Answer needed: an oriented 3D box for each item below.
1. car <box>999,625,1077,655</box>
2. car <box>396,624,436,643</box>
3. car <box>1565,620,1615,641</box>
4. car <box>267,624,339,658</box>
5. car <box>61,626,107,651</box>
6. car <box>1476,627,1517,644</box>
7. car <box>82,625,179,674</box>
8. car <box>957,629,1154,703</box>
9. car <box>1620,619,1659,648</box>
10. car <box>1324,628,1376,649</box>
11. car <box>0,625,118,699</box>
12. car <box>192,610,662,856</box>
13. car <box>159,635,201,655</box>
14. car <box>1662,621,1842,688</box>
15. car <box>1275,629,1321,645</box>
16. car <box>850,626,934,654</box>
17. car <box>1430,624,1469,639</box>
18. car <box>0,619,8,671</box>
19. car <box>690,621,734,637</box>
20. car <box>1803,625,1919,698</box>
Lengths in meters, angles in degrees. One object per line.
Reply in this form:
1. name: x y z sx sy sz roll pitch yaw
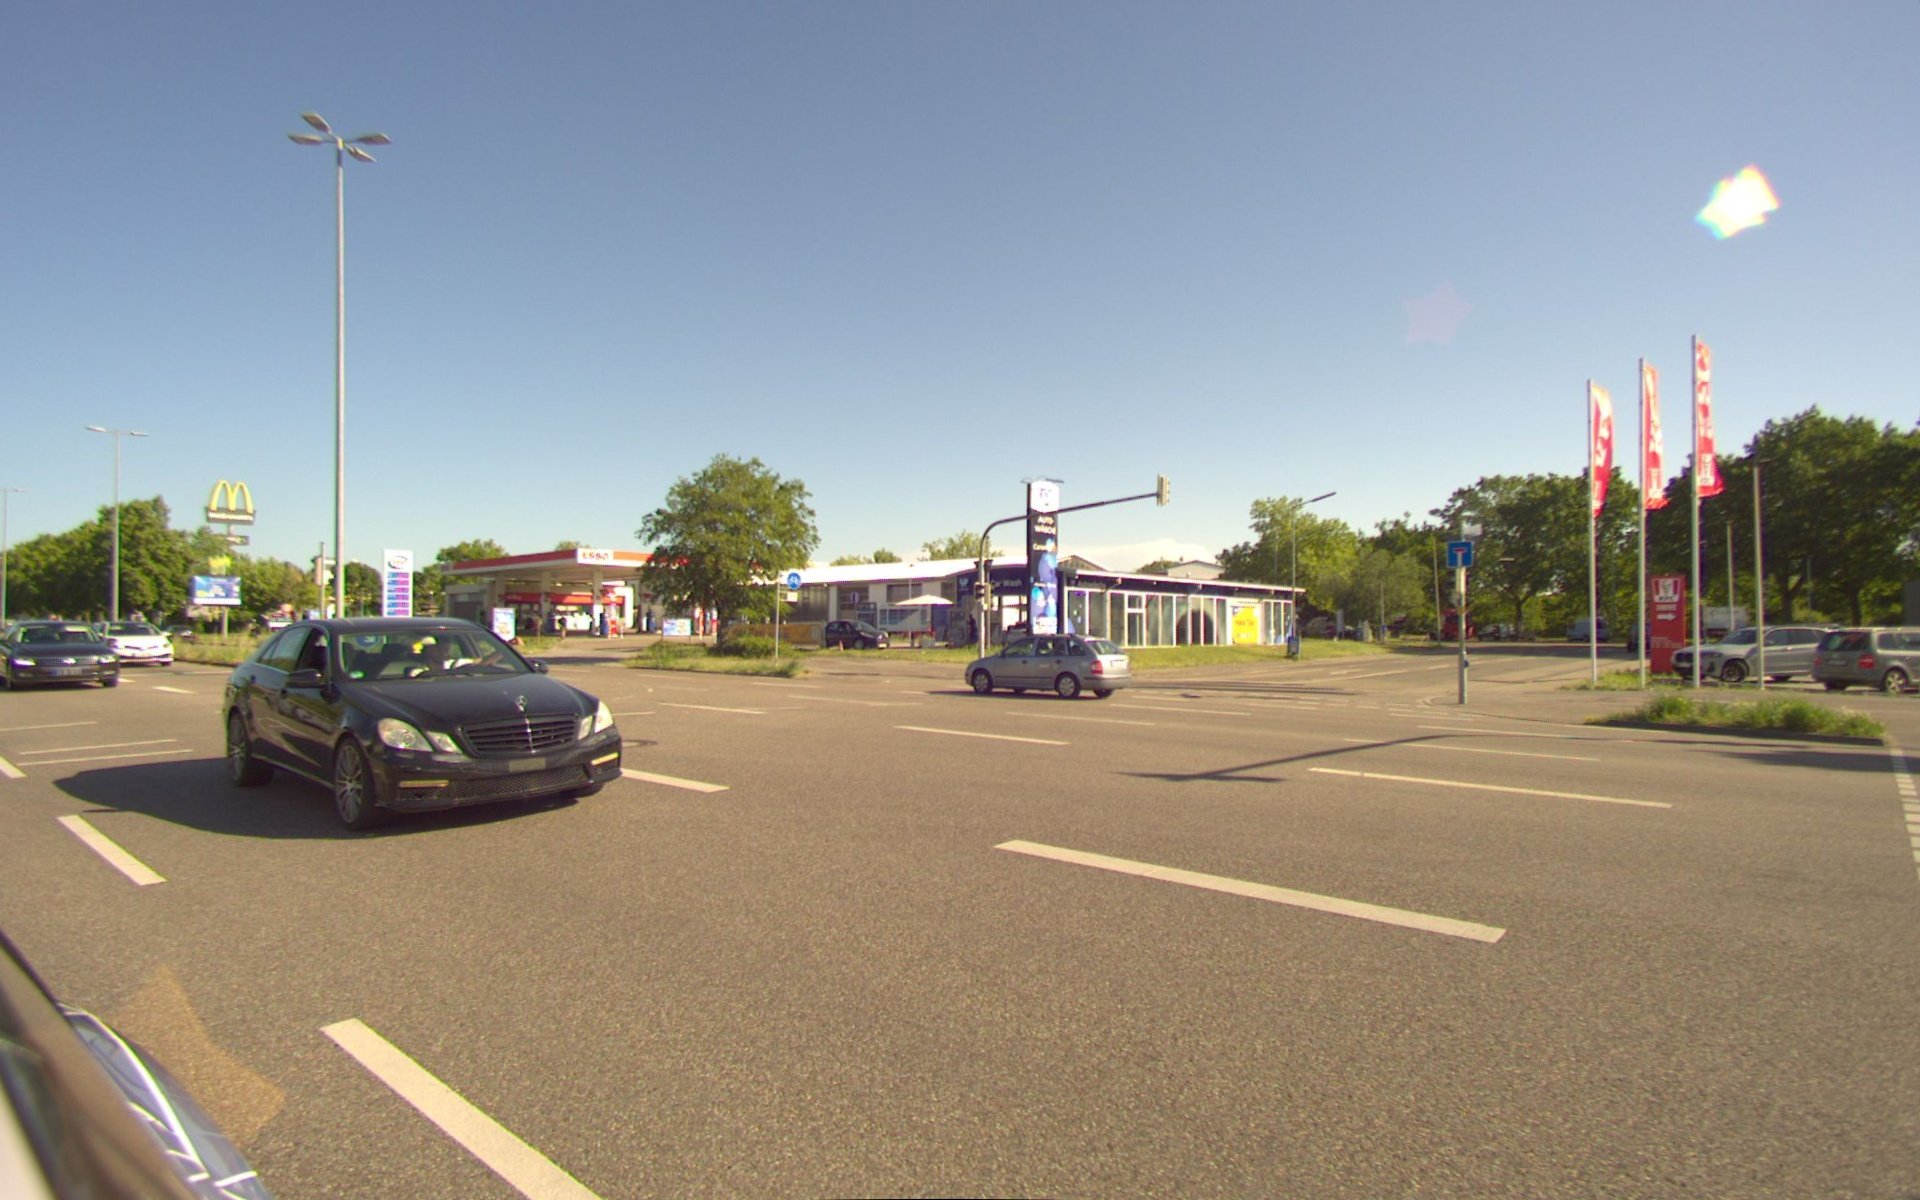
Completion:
1. car: 4.002 2.070 51.611 1.900 1.443 4.063 -1 -3 41
2. car: -49.616 3.047 92.238 4.116 1.625 1.740 -1 -3 40
3. car: 58.272 2.860 93.722 2.077 1.813 4.775 1 -2 8
4. car: -32.248 1.992 49.622 4.265 1.612 1.875 -1 -3 42
5. car: -54.686 2.390 63.157 3.663 1.443 1.677 -1 -3 42
6. car: 61.138 4.040 115.382 2.072 1.813 4.786 1 -2 0
7. car: -26.732 1.545 32.577 4.115 1.466 1.767 -1 -2 42
8. car: 2.144 1.474 23.376 4.194 1.537 1.973 -2 -3 41
9. car: 45.329 2.281 67.579 1.903 1.857 4.254 -1 -3 31
10. car: 32.620 3.227 84.707 3.694 1.681 1.882 -1 -3 44
11. car: -20.068 1.289 22.231 4.264 1.464 1.824 -1 -1 42
12. car: -4.715 0.868 8.558 4.916 1.494 1.938 -1 -2 42
13. car: -59.410 3.445 77.068 4.457 1.443 1.677 -1 -3 42
14. car: 23.397 1.593 30.007 3.778 1.864 1.847 -1 0 1
15. car: 32.368 3.539 97.023 4.087 1.443 1.889 0 -3 19
16. car: -3.464 2.040 51.228 4.116 1.335 1.876 -1 -3 40
17. car: 60.577 3.910 125.256 2.069 1.813 4.793 1 -2 -6
18. car: -33.775 1.504 34.143 4.694 1.696 1.973 -1 -1 41
19. car: -22.559 2.665 91.937 4.116 1.451 1.749 -2 -3 40
20. car: 23.873 1.485 25.253 4.074 1.674 1.896 -1 0 -1
